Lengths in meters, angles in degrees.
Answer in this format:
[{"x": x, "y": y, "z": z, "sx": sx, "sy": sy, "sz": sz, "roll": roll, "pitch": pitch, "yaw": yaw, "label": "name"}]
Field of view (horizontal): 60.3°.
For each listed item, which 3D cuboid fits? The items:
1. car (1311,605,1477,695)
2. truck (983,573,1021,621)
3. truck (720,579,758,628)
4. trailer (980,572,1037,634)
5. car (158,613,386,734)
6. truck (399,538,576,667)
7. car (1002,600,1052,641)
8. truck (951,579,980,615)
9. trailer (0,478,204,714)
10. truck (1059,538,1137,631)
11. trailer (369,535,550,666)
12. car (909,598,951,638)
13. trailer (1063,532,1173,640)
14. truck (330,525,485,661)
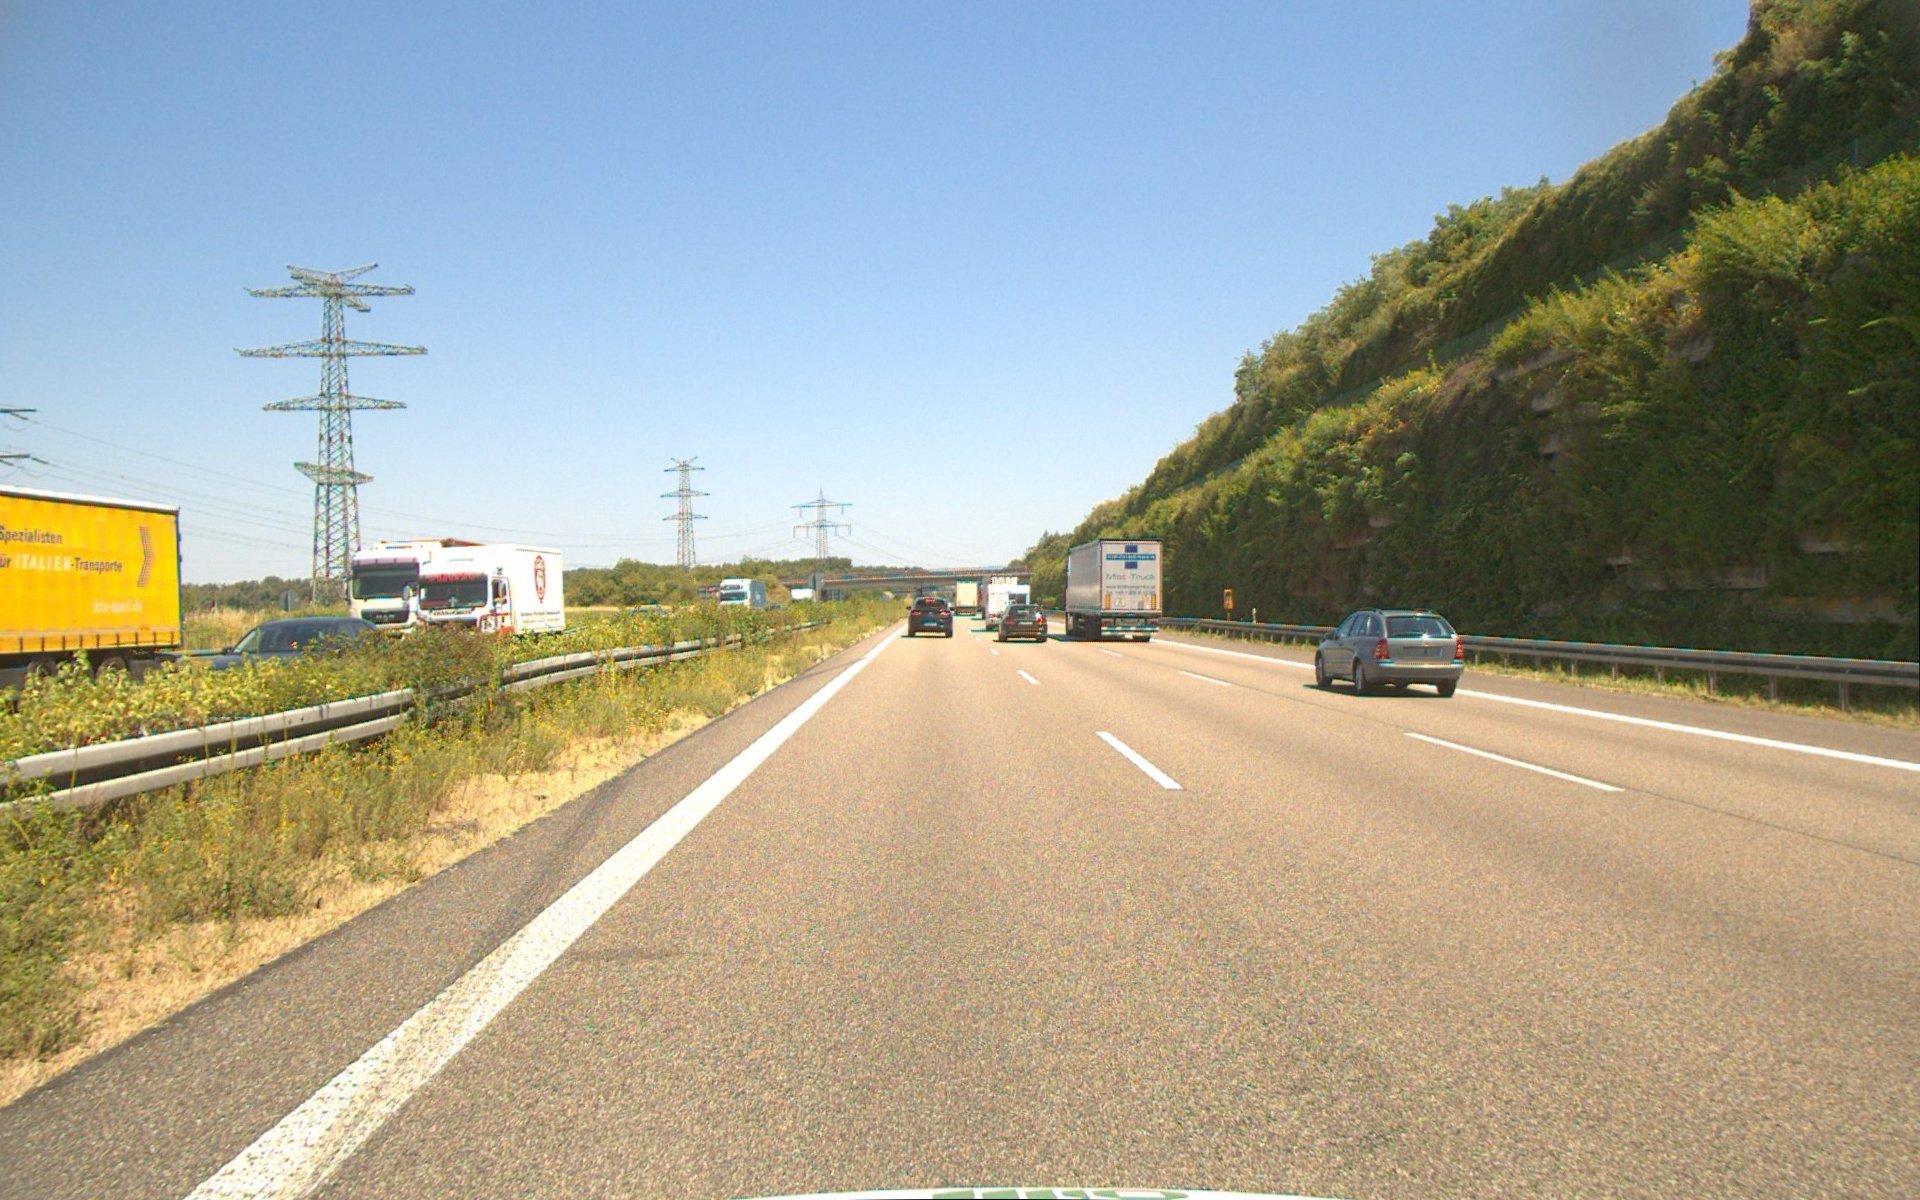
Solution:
[{"x": 7.607, "y": 0.830, "z": 29.415, "sx": 1.650, "sy": 1.453, "sz": 4.451, "roll": 0, "pitch": 0, "yaw": -2, "label": "car"}, {"x": 3.892, "y": -0.277, "z": 156.419, "sx": 3.056, "sy": 4.355, "sz": 11.930, "roll": -1, "pitch": 0, "yaw": -1, "label": "truck"}, {"x": -19.509, "y": 0.297, "z": 146.456, "sx": 2.641, "sy": 4.140, "sz": 5.800, "roll": -1, "pitch": 0, "yaw": -1, "label": "truck"}, {"x": 2.631, "y": 0.168, "z": 93.105, "sx": 2.558, "sy": 3.269, "sz": 9.949, "roll": -1, "pitch": 0, "yaw": -2, "label": "trailer"}, {"x": -9.789, "y": 0.989, "z": 23.870, "sx": 1.632, "sy": 1.522, "sz": 3.999, "roll": -1, "pitch": 0, "yaw": -1, "label": "car"}, {"x": -14.342, "y": 0.072, "z": 51.060, "sx": 2.878, "sy": 3.472, "sz": 9.363, "roll": -3, "pitch": 0, "yaw": -2, "label": "truck"}, {"x": 2.639, "y": 0.800, "z": 65.996, "sx": 1.792, "sy": 1.552, "sz": 3.999, "roll": -1, "pitch": 0, "yaw": -1, "label": "car"}, {"x": 0.605, "y": -0.369, "z": 206.006, "sx": 3.340, "sy": 4.355, "sz": 10.604, "roll": -1, "pitch": 0, "yaw": -1, "label": "truck"}, {"x": -17.869, "y": -0.048, "z": 29.210, "sx": 2.792, "sy": 4.047, "sz": 14.139, "roll": -1, "pitch": 0, "yaw": -1, "label": "trailer"}, {"x": 6.492, "y": -0.692, "z": 78.700, "sx": 3.072, "sy": 4.214, "sz": 5.502, "roll": -1, "pitch": 0, "yaw": -1, "label": "truck"}, {"x": -18.412, "y": 0.036, "z": 61.929, "sx": 3.128, "sy": 4.381, "sz": 12.268, "roll": 1, "pitch": 0, "yaw": -1, "label": "trailer"}, {"x": -1.342, "y": 0.784, "z": 73.067, "sx": 1.793, "sy": 1.700, "sz": 3.999, "roll": -1, "pitch": 0, "yaw": -2, "label": "car"}, {"x": 6.654, "y": -0.555, "z": 71.979, "sx": 3.118, "sy": 4.193, "sz": 13.427, "roll": -1, "pitch": 0, "yaw": -1, "label": "trailer"}, {"x": -18.358, "y": -0.226, "z": 55.413, "sx": 3.148, "sy": 4.231, "sz": 6.437, "roll": -1, "pitch": 0, "yaw": -2, "label": "truck"}]
